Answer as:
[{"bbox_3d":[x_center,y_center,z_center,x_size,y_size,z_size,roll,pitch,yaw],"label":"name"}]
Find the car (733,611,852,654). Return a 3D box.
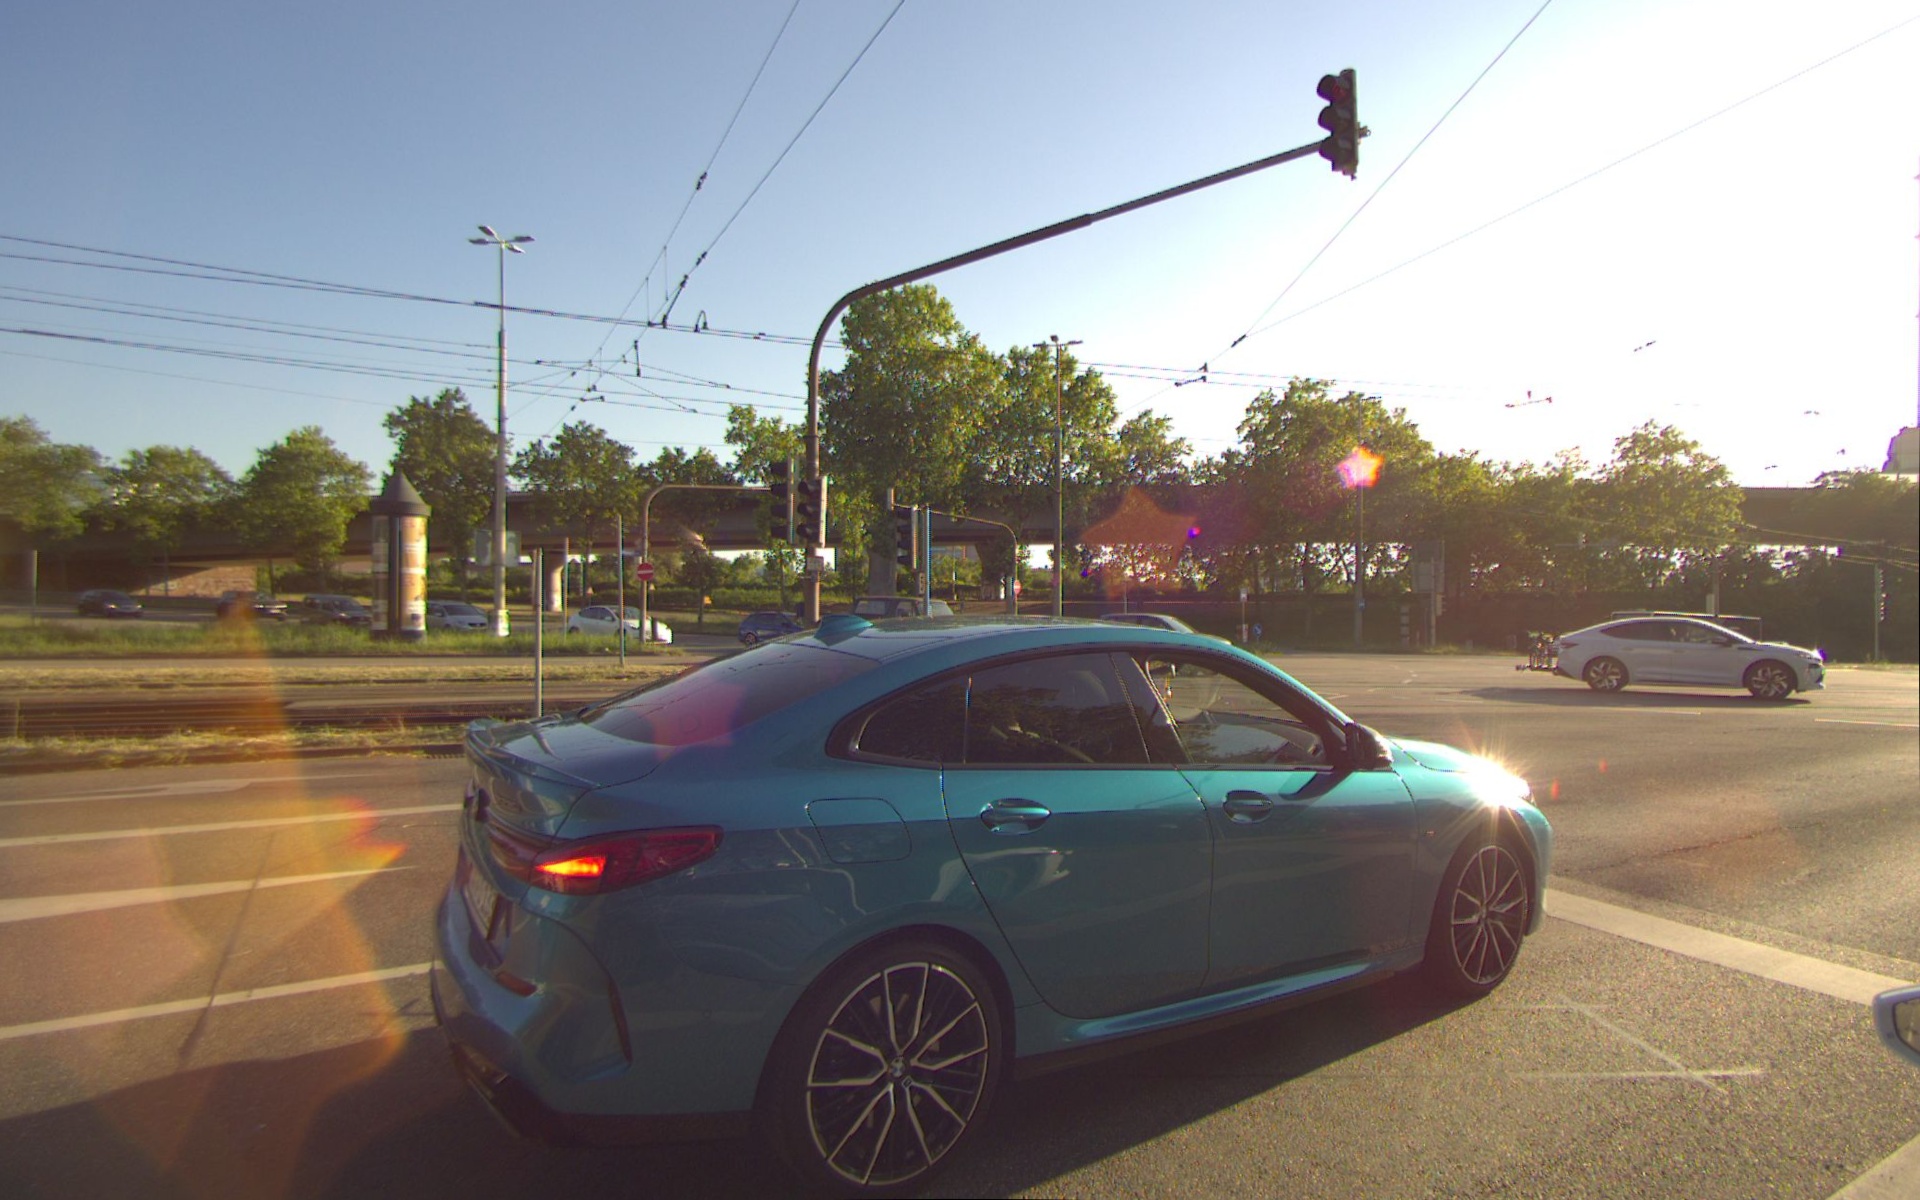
[{"bbox_3d":[-6.424,1.210,38.250,4.548,1.478,1.689,1,-1,34],"label":"car"}]

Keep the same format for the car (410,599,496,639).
[{"bbox_3d":[-22.385,0.812,44.288,4.218,1.653,1.687,1,0,37],"label":"car"}]

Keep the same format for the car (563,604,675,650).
[{"bbox_3d":[-13.000,0.981,38.162,4.691,1.595,1.687,1,-1,37],"label":"car"}]

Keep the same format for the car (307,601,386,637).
[{"bbox_3d":[-30.843,0.930,50.440,4.339,1.701,1.689,1,0,33],"label":"car"}]

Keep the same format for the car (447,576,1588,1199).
[{"bbox_3d":[0.470,0.747,3.821,4.162,1.485,1.704,1,-1,-33],"label":"car"}]

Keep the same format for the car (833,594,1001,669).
[{"bbox_3d":[-1.341,0.879,29.929,4.868,2.017,2.029,1,-1,39],"label":"car"}]

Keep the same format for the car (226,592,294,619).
[{"bbox_3d":[-41.601,0.318,59.687,4.334,1.546,1.621,1,-1,30],"label":"car"}]

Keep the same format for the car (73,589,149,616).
[{"bbox_3d":[-50.314,0.153,59.531,3.857,1.546,1.724,1,0,19],"label":"car"}]

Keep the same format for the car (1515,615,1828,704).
[{"bbox_3d":[15.018,1.176,21.465,5.286,1.595,1.733,1,-1,40],"label":"car"}]

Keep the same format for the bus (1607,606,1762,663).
[{"bbox_3d":[45.754,2.245,63.210,12.756,3.171,2.534,3,-2,-28],"label":"bus"}]

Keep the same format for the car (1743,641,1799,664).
[{"bbox_3d":[55.044,3.555,68.160,3.959,1.438,1.600,1,0,-29],"label":"car"}]

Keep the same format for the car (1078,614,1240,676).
[{"bbox_3d":[5.633,1.233,28.590,4.177,1.595,1.689,1,-1,34],"label":"car"}]
